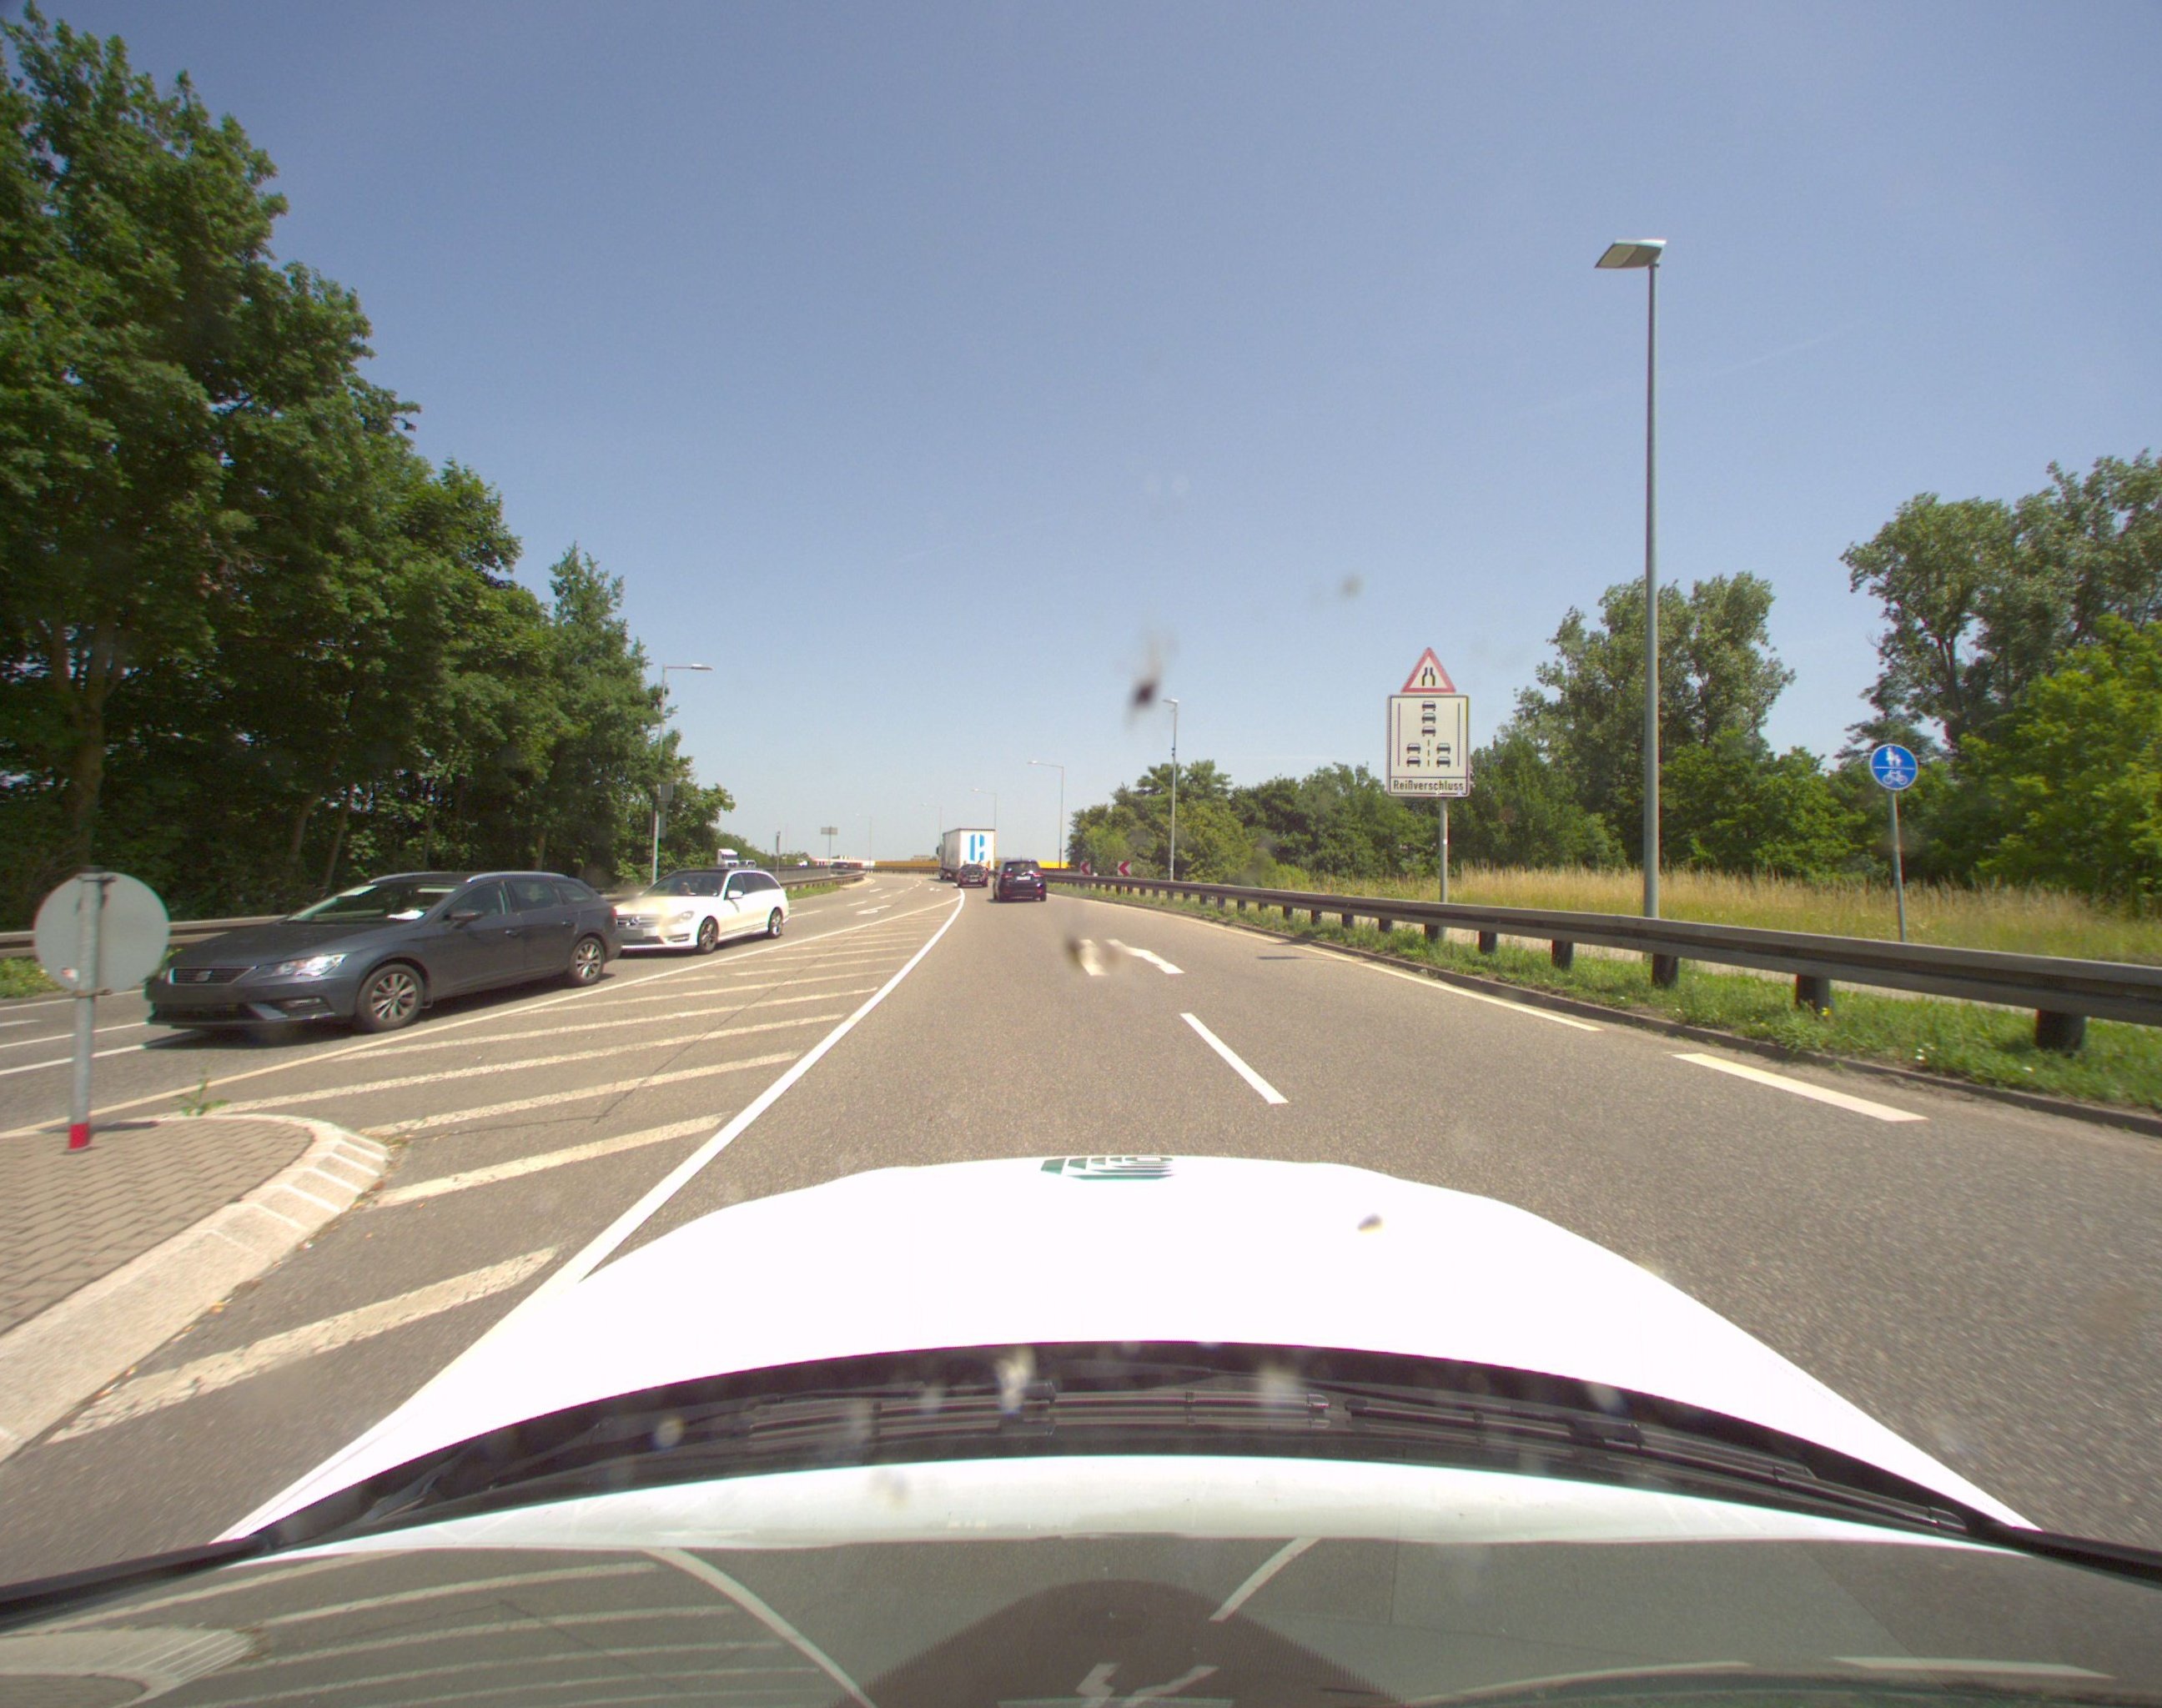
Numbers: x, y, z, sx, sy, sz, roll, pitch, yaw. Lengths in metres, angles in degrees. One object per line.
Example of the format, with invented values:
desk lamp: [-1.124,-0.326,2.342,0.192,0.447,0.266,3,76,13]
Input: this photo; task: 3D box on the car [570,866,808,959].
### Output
car: [-6.950,0.942,15.171,1.820,1.406,4.891,1,-1,3]

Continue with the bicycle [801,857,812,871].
bicycle: [-35.797,1.271,106.137,0.703,1.802,2.157,1,-1,-35]

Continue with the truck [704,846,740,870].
truck: [-61.560,0.653,139.662,6.106,3.992,2.732,0,-1,35]

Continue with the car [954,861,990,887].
car: [-6.576,1.164,48.726,2.011,1.429,3.764,1,-1,-9]

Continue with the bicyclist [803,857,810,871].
bicyclist: [-35.778,1.299,106.097,0.628,1.886,0.705,1,-1,-34]

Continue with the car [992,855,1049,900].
car: [-2.354,0.845,30.803,1.920,1.574,3.881,1,-1,-8]

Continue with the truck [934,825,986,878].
truck: [-10.664,-0.170,71.415,3.580,4.441,6.478,1,-1,-17]

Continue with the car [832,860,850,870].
car: [-34.377,1.570,116.563,1.851,1.508,3.601,1,-1,-28]

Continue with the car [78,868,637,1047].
car: [-7.081,0.872,8.842,1.820,1.406,4.550,0,-1,3]

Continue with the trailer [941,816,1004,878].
trailer: [-8.740,-0.468,63.999,3.575,4.384,11.385,1,-1,-14]
